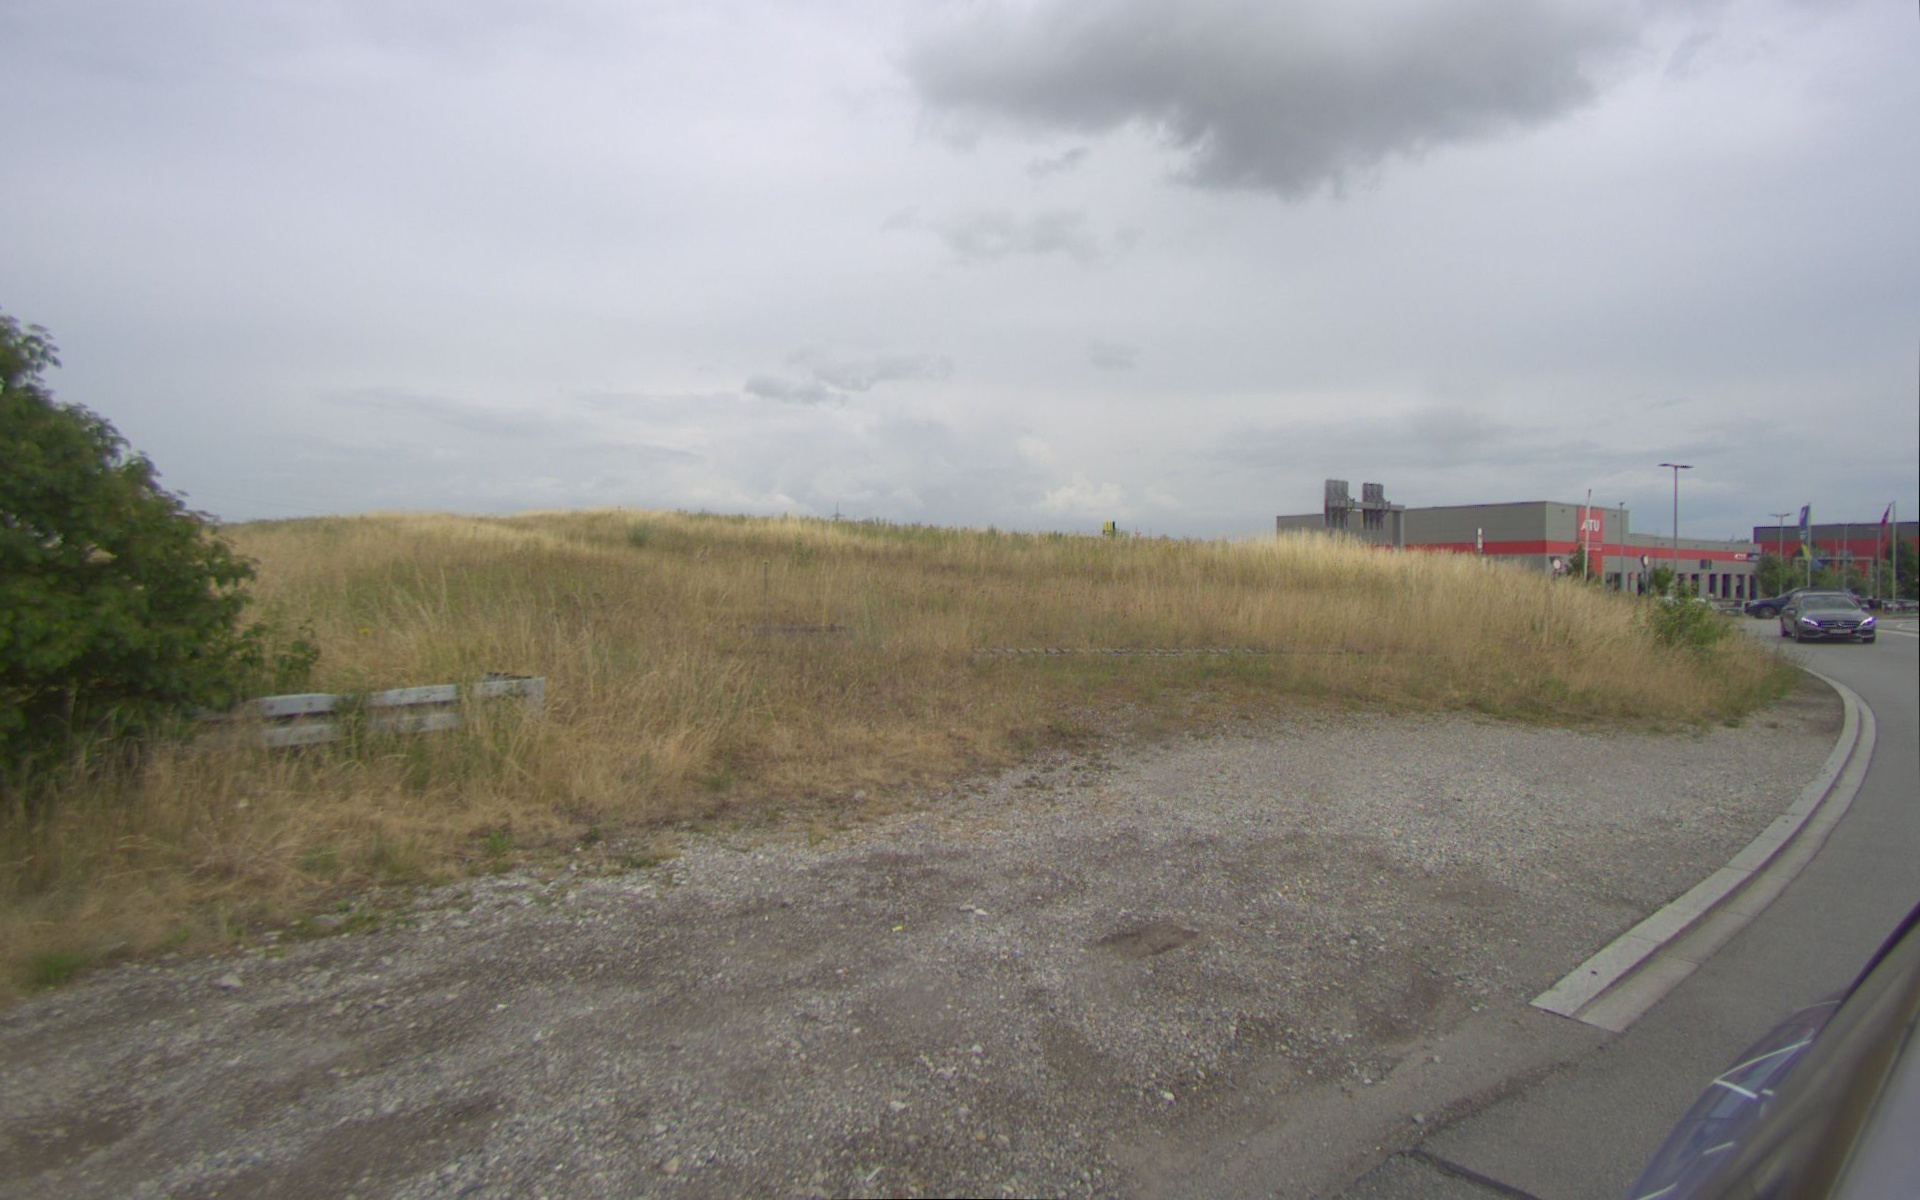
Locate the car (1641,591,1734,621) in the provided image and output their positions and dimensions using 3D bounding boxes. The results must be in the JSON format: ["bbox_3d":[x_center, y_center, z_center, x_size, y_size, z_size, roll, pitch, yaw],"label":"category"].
[{"bbox_3d":[51.708,0.386,72.022,1.965,2.073,5.071,0,0,-40],"label":"car"}]

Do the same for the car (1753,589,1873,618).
[{"bbox_3d":[44.312,0.195,52.711,4.522,1.430,1.839,-1,0,33],"label":"car"}]

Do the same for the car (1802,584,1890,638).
[{"bbox_3d":[27.043,0.319,30.851,1.760,1.438,4.026,-2,0,44],"label":"car"}]
